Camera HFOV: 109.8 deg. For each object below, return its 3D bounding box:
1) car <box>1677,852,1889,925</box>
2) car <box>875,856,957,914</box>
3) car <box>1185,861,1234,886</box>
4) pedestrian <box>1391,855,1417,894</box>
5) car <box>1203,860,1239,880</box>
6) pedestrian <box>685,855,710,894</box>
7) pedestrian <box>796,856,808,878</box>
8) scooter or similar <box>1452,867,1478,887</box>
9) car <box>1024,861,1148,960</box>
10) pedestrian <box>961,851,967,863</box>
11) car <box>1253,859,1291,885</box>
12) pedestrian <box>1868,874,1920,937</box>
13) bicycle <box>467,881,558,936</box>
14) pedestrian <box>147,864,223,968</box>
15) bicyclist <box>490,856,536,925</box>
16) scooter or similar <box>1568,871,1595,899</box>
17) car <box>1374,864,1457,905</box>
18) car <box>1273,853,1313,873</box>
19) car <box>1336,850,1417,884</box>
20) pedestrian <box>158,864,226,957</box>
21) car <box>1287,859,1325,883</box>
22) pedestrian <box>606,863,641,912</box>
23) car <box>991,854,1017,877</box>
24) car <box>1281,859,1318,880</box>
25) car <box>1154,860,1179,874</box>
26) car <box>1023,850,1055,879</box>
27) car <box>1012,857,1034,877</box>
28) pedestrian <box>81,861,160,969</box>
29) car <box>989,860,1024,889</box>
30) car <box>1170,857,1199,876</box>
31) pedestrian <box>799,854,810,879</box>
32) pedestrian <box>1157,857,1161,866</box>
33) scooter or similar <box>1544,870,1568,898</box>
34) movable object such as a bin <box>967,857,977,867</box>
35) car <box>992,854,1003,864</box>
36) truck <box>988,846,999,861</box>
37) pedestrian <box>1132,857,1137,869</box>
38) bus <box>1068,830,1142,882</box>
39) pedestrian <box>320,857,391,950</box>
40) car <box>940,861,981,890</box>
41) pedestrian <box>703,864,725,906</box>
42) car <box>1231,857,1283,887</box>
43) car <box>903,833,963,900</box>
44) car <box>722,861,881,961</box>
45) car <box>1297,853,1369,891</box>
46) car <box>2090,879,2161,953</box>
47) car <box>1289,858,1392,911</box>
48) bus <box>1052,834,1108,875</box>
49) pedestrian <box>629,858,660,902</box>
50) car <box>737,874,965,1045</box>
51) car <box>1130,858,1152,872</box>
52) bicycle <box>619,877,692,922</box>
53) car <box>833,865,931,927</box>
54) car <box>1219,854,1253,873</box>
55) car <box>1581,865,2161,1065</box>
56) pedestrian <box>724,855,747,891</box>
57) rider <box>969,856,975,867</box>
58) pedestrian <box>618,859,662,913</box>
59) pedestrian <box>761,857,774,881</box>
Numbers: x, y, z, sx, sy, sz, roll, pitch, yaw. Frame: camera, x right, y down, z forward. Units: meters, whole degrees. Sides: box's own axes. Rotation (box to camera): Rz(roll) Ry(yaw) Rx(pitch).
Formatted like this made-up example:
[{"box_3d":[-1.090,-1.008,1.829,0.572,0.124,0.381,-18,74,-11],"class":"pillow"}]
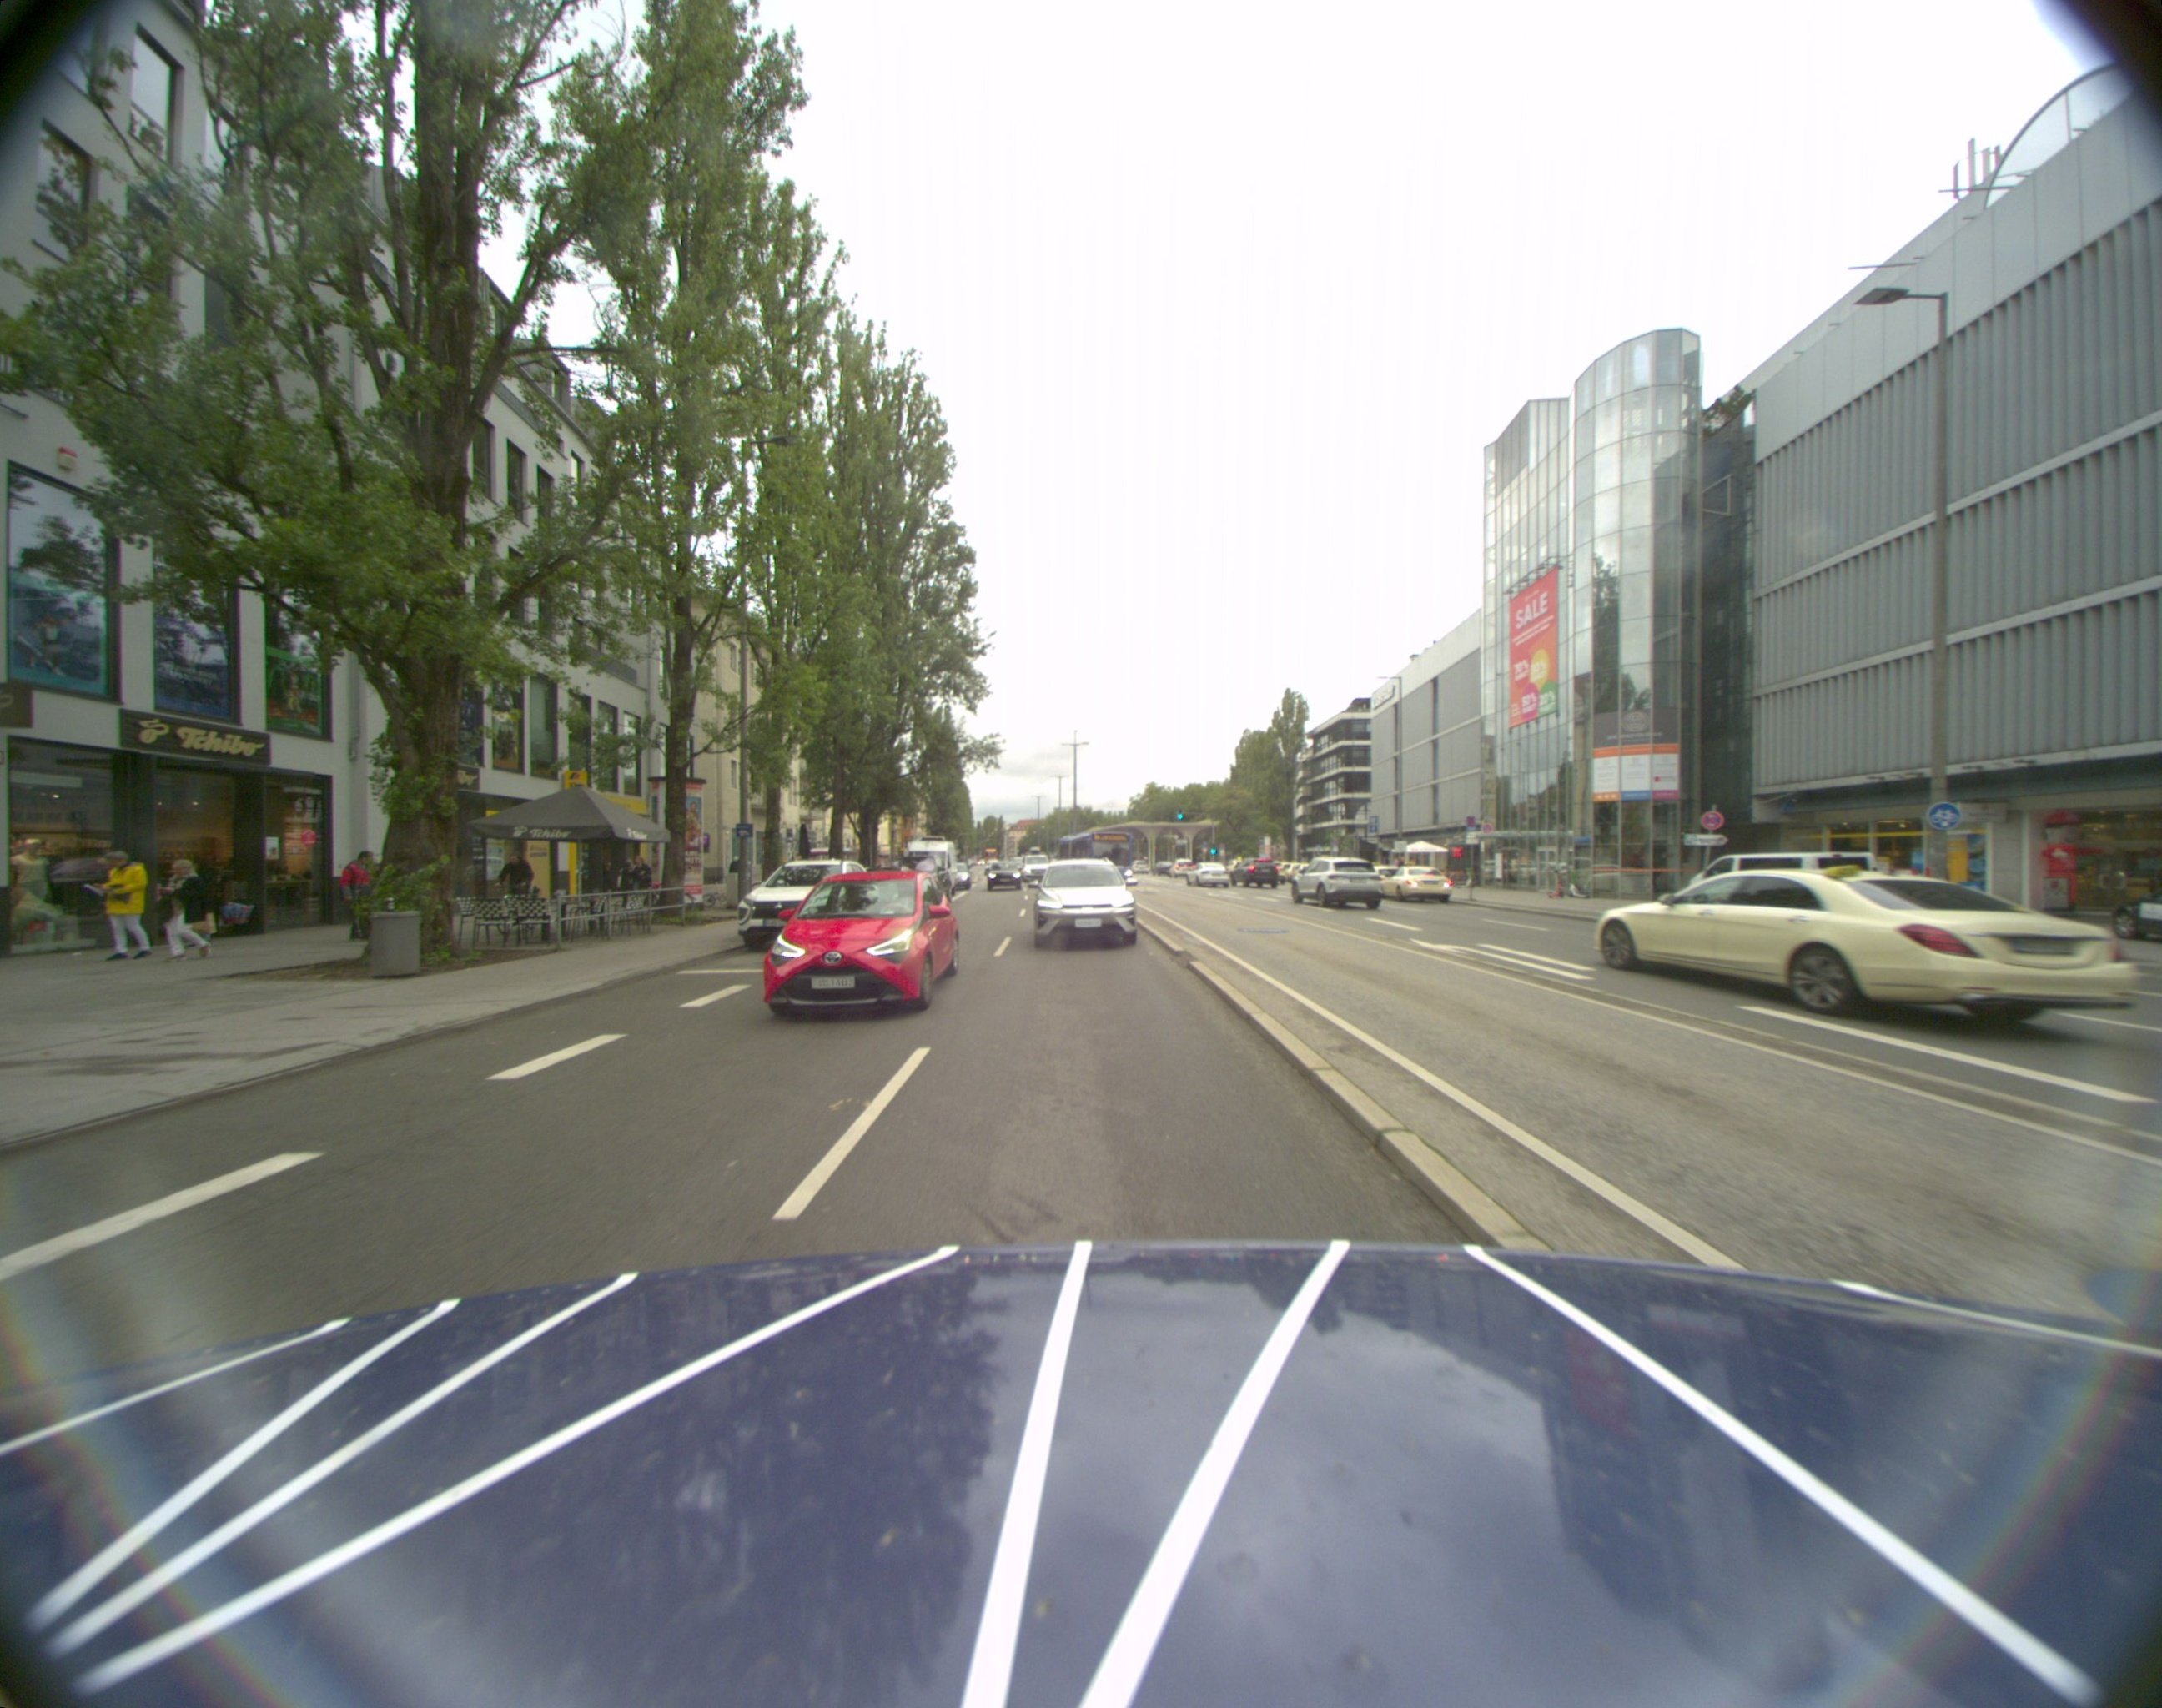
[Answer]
[{"box_3d":[21.336,0.953,23.487,1.998,2.002,5.113,0,0,3],"class":"car"},{"box_3d":[-5.677,0.982,26.742,1.934,1.794,4.778,-2,0,-2],"class":"car"},{"box_3d":[7.625,1.138,45.547,1.804,1.386,4.688,0,0,-5],"class":"car"},{"box_3d":[15.795,0.982,37.166,0.788,1.856,0.846,2,1,-2],"class":"pedestrian"},{"box_3d":[10.490,1.162,57.218,1.788,1.457,3.999,1,0,-3],"class":"car"},{"box_3d":[-16.413,0.883,32.544,0.693,1.639,0.797,0,0,-7],"class":"pedestrian"},{"box_3d":[-19.943,0.913,54.319,0.678,1.519,0.729,0,0,-5],"class":"pedestrian"},{"box_3d":[22.300,1.334,44.164,0.368,1.133,1.379,0,0,-26],"class":"scooter or similar"},{"box_3d":[-0.064,0.929,14.336,1.897,1.483,3.997,-2,1,-6],"class":"car"},{"box_3d":[-17.249,0.466,112.189,0.732,1.791,0.709,0,2,-16],"class":"pedestrian"},{"box_3d":[13.498,1.238,53.866,1.889,1.688,4.384,1,0,4],"class":"car"},{"box_3d":[19.633,1.223,18.353,0.547,1.486,0.655,0,0,-2],"class":"pedestrian"},{"box_3d":[-12.153,1.141,16.323,0.591,1.057,1.804,0,0,0],"class":"bicycle"},{"box_3d":[-13.776,0.937,11.692,0.491,1.558,0.569,0,0,1],"class":"pedestrian"},{"box_3d":[-12.143,0.773,16.260,0.640,1.440,0.440,0,0,0],"class":"bicyclist"},{"box_3d":[21.661,1.331,32.888,0.255,1.166,0.996,0,0,-20],"class":"scooter or similar"},{"box_3d":[13.674,1.174,31.351,1.860,1.461,4.986,2,0,9],"class":"car"},{"box_3d":[17.704,0.745,63.643,1.912,1.557,3.998,0,0,-5],"class":"car"},{"box_3d":[14.259,0.594,36.981,1.982,1.543,5.086,0,0,0],"class":"car"},{"box_3d":[-15.504,0.966,13.272,0.566,1.567,0.675,0,0,-29],"class":"pedestrian"},{"box_3d":[15.687,1.167,53.063,1.775,1.607,4.002,0,0,5],"class":"car"},{"box_3d":[-14.490,1.051,24.097,0.684,1.549,0.750,0,0,-4],"class":"pedestrian"},{"box_3d":[-6.499,0.942,63.928,2.000,1.740,3.997,-2,1,-6],"class":"car"},{"box_3d":[16.528,1.152,57.762,1.756,1.527,4.000,0,0,2],"class":"car"},{"box_3d":[8.553,1.273,76.408,1.734,1.400,4.686,0,0,-3],"class":"car"},{"box_3d":[-2.997,0.701,53.341,2.000,1.889,4.232,-2,1,-6],"class":"car"},{"box_3d":[-5.424,1.175,70.967,1.874,1.760,4.232,-2,1,-6],"class":"car"},{"box_3d":[-14.781,0.922,11.706,0.491,1.625,0.569,0,0,1],"class":"pedestrian"},{"box_3d":[-4.062,1.058,41.041,1.741,1.461,4.048,-1,0,-7],"class":"car"},{"box_3d":[9.000,1.040,66.147,1.958,1.580,4.000,0,0,0],"class":"car"},{"box_3d":[-20.046,0.906,55.094,0.718,1.818,0.728,0,0,-21],"class":"pedestrian"},{"box_3d":[11.969,1.109,116.788,0.550,1.329,0.591,0,0,-7],"class":"pedestrian"},{"box_3d":[20.663,1.295,33.068,0.255,1.217,0.996,0,0,-13],"class":"scooter or similar"},{"box_3d":[-12.692,0.942,88.562,1.090,1.056,0.747,2,1,-10],"class":"movable object such as a bin"},{"box_3d":[-14.154,0.871,128.321,1.860,1.696,3.997,1,0,-6],"class":"car"},{"box_3d":[-20.268,-0.112,175.622,2.542,3.468,7.747,0,0,-6],"class":"truck"},{"box_3d":[8.046,1.363,114.086,0.666,1.840,0.789,0,0,13],"class":"pedestrian"},{"box_3d":[1.282,0.067,49.001,2.943,2.927,11.204,-1,1,-8],"class":"bus"},{"box_3d":[-13.759,0.910,14.432,0.670,1.715,0.768,0,0,-14],"class":"pedestrian"},{"box_3d":[-6.761,1.183,42.861,1.730,1.445,4.146,-2,0,-2],"class":"car"},{"box_3d":[-11.873,0.988,24.592,0.597,1.334,0.391,-2,1,-27],"class":"pedestrian"},{"box_3d":[10.641,1.065,46.398,2.023,1.706,4.982,0,0,0],"class":"car"},{"box_3d":[-6.617,0.498,34.512,1.999,2.726,5.551,-2,1,-5],"class":"car"},{"box_3d":[-5.435,1.009,15.401,1.732,1.676,4.407,-1,0,-3],"class":"car"},{"box_3d":[14.092,0.940,42.915,1.999,2.002,5.319,1,0,-4],"class":"car"},{"box_3d":[22.439,1.274,14.679,1.923,1.430,4.516,1,0,30],"class":"car"},{"box_3d":[8.539,0.960,25.405,1.914,1.593,4.355,0,0,0],"class":"car"},{"box_3d":[-0.262,-0.014,60.796,2.943,2.927,11.204,-1,1,-8],"class":"bus"},{"box_3d":[-15.464,0.920,26.934,0.684,1.549,0.750,0,0,-4],"class":"pedestrian"},{"box_3d":[-2.442,1.046,8.983,1.669,1.438,3.595,-2,1,-2],"class":"car"},{"box_3d":[7.067,1.268,89.686,1.999,1.591,4.288,0,0,-3],"class":"car"},{"box_3d":[-11.680,1.235,20.868,1.511,1.132,0.894,1,0,11],"class":"bicycle"},{"box_3d":[-5.438,1.090,21.378,1.776,1.425,4.569,-2,0,-4],"class":"car"},{"box_3d":[13.661,0.821,67.164,1.592,1.602,4.474,0,0,-7],"class":"car"},{"box_3d":[8.600,0.985,9.048,1.998,1.579,5.196,2,0,2],"class":"car"},{"box_3d":[-16.995,0.920,37.369,0.719,1.714,0.741,1,1,31],"class":"pedestrian"},{"box_3d":[-12.708,0.827,88.542,0.732,1.234,0.732,2,1,-9],"class":"rider"},{"box_3d":[-13.511,0.962,23.311,0.802,1.627,1.023,0,0,-4],"class":"pedestrian"},{"box_3d":[-21.070,1.015,51.049,0.602,1.641,0.764,0,0,-4],"class":"pedestrian"}]
